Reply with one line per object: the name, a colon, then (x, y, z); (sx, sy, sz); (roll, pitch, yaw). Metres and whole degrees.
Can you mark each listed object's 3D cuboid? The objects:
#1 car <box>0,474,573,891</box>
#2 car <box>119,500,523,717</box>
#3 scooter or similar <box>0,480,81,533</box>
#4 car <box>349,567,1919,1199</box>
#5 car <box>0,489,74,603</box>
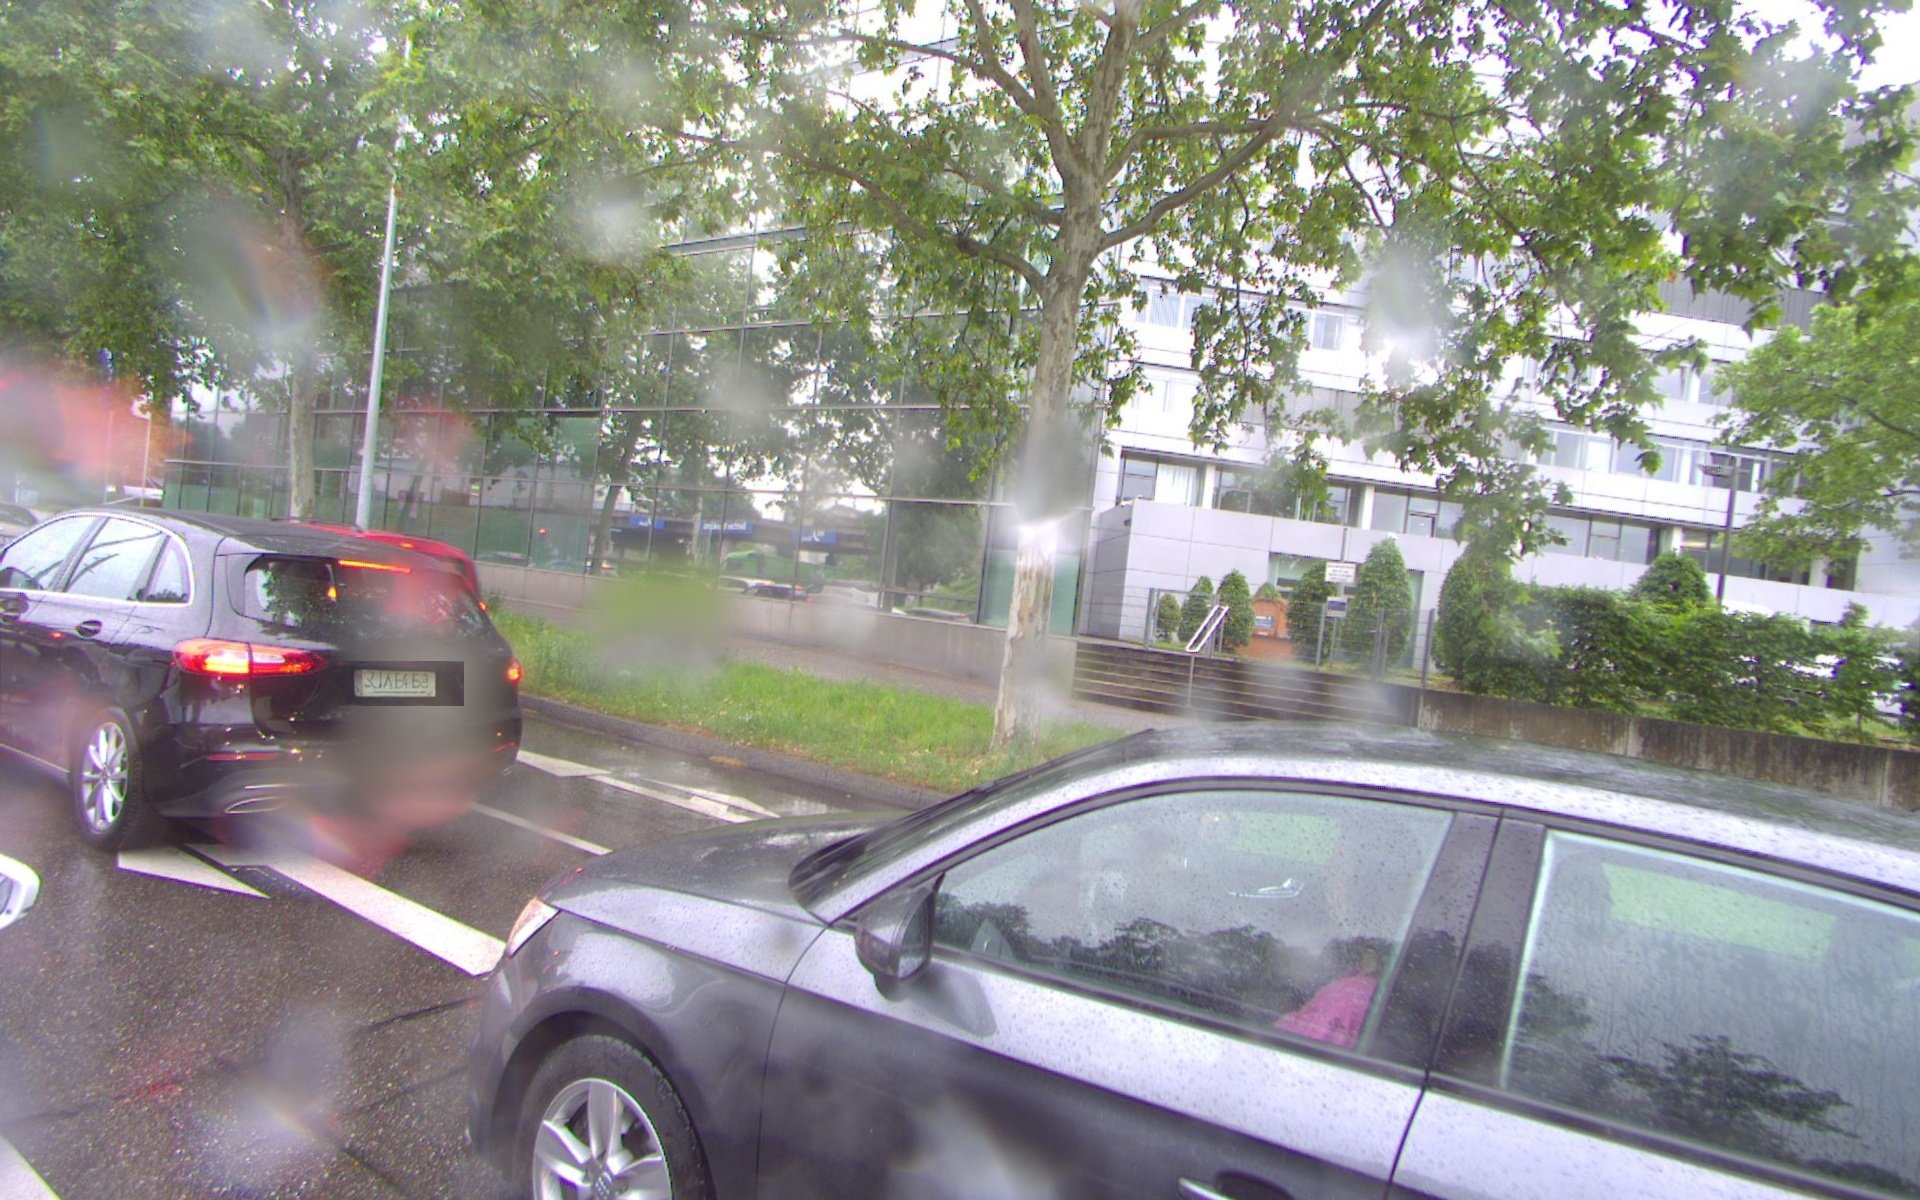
car: (-4.348, 0.243, 5.756); (4.022, 1.573, 1.751); (7, -1, 31)
car: (-6.686, 0.045, 10.413); (4.201, 1.714, 1.714); (6, -2, 31)
scooter or similar: (-54.530, -5.527, 58.146); (5.228, 2.476, 1.893); (7, 0, -9)
car: (0.627, 0.901, 2.148); (3.718, 1.445, 1.679); (7, -1, 31)
car: (-16.126, -1.072, 15.987); (3.933, 1.631, 1.880); (7, -2, 32)
